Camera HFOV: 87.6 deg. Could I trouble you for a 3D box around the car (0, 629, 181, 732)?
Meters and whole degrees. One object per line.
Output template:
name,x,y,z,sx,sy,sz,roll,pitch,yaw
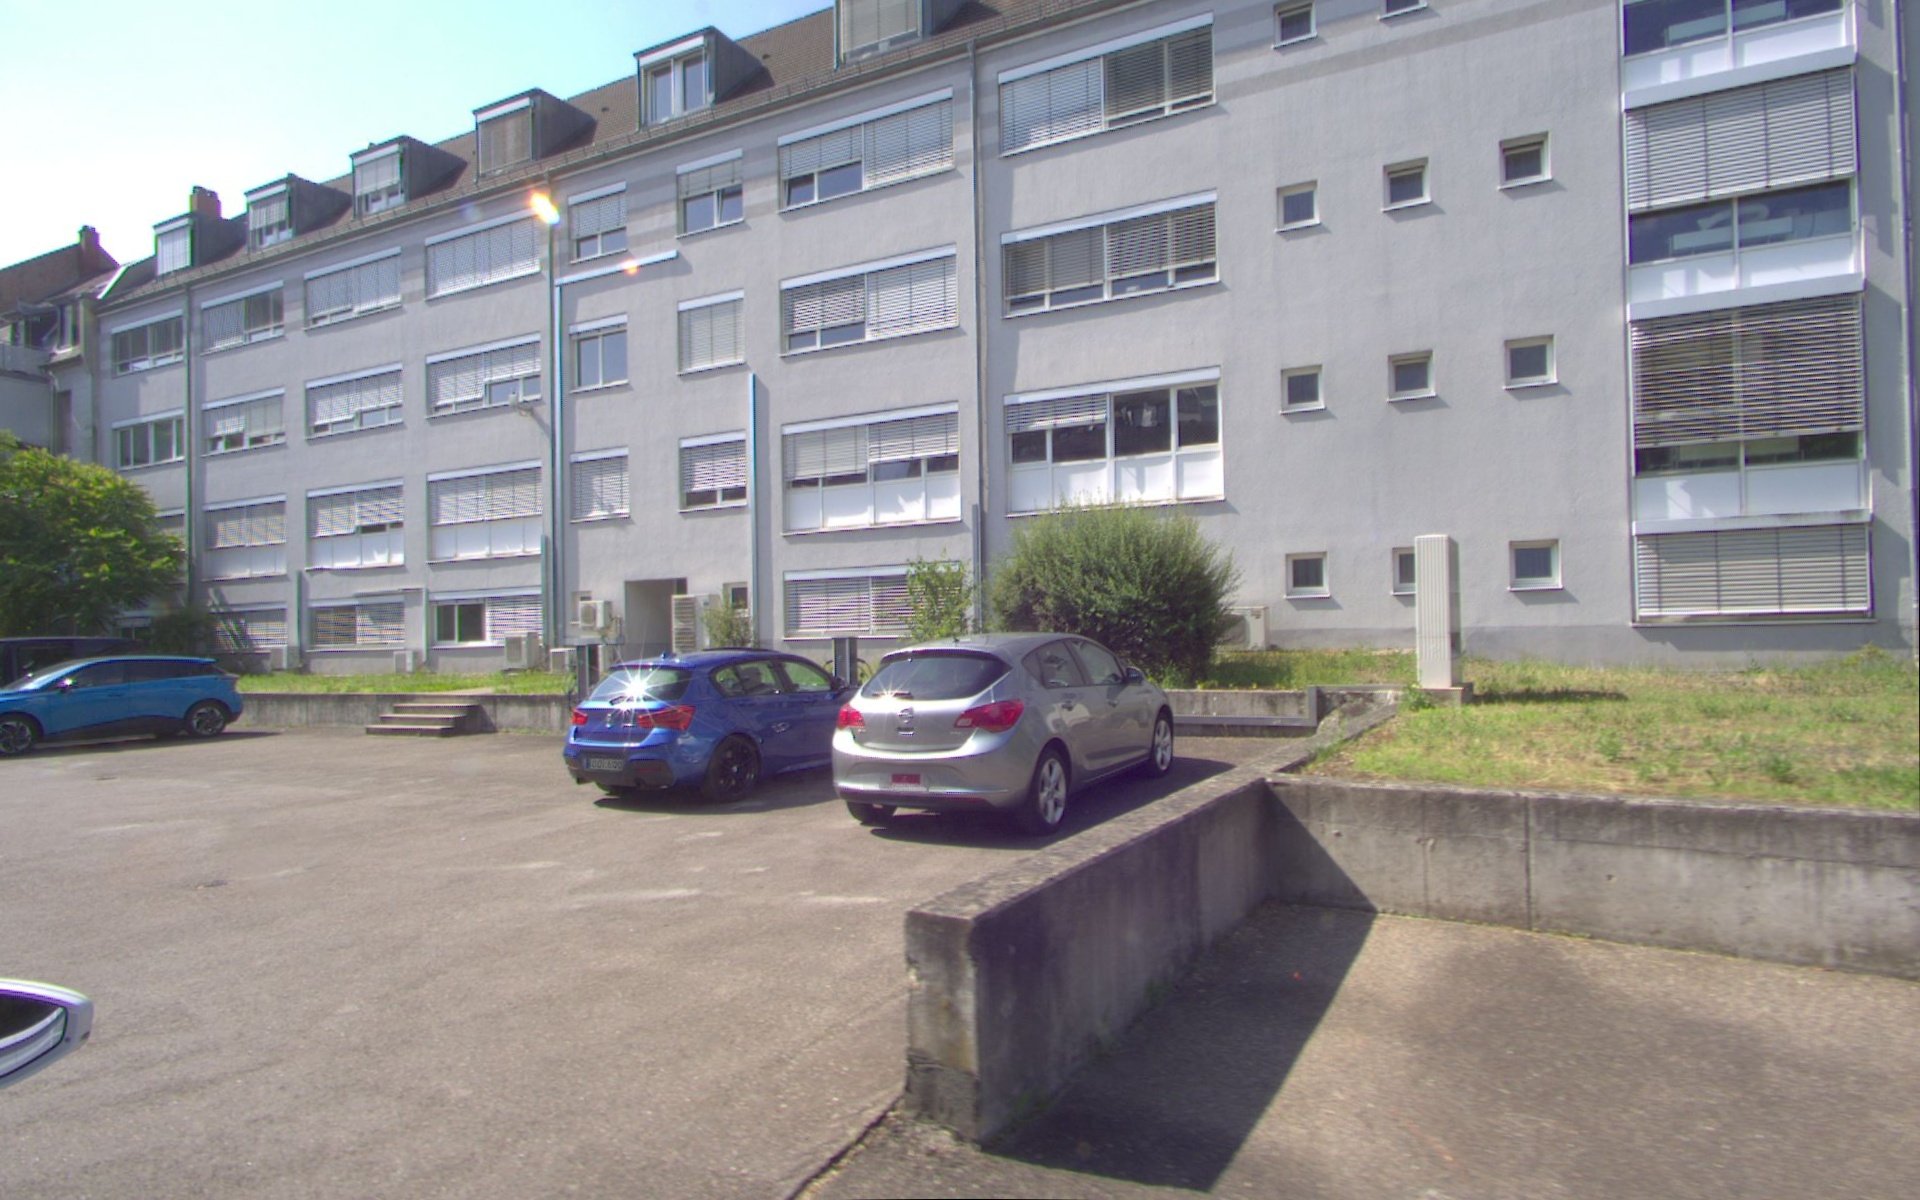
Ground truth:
car,-17.972,1.490,18.790,2.060,1.791,4.958,-1,-1,19

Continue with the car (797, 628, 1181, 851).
car,0.510,1.007,8.902,1.784,1.445,3.983,-2,-1,29

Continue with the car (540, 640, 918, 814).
car,-2.253,1.189,10.794,1.665,1.412,3.980,-2,-1,31

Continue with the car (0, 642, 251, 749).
car,-15.109,1.572,17.323,1.969,1.552,4.225,-1,-1,28
